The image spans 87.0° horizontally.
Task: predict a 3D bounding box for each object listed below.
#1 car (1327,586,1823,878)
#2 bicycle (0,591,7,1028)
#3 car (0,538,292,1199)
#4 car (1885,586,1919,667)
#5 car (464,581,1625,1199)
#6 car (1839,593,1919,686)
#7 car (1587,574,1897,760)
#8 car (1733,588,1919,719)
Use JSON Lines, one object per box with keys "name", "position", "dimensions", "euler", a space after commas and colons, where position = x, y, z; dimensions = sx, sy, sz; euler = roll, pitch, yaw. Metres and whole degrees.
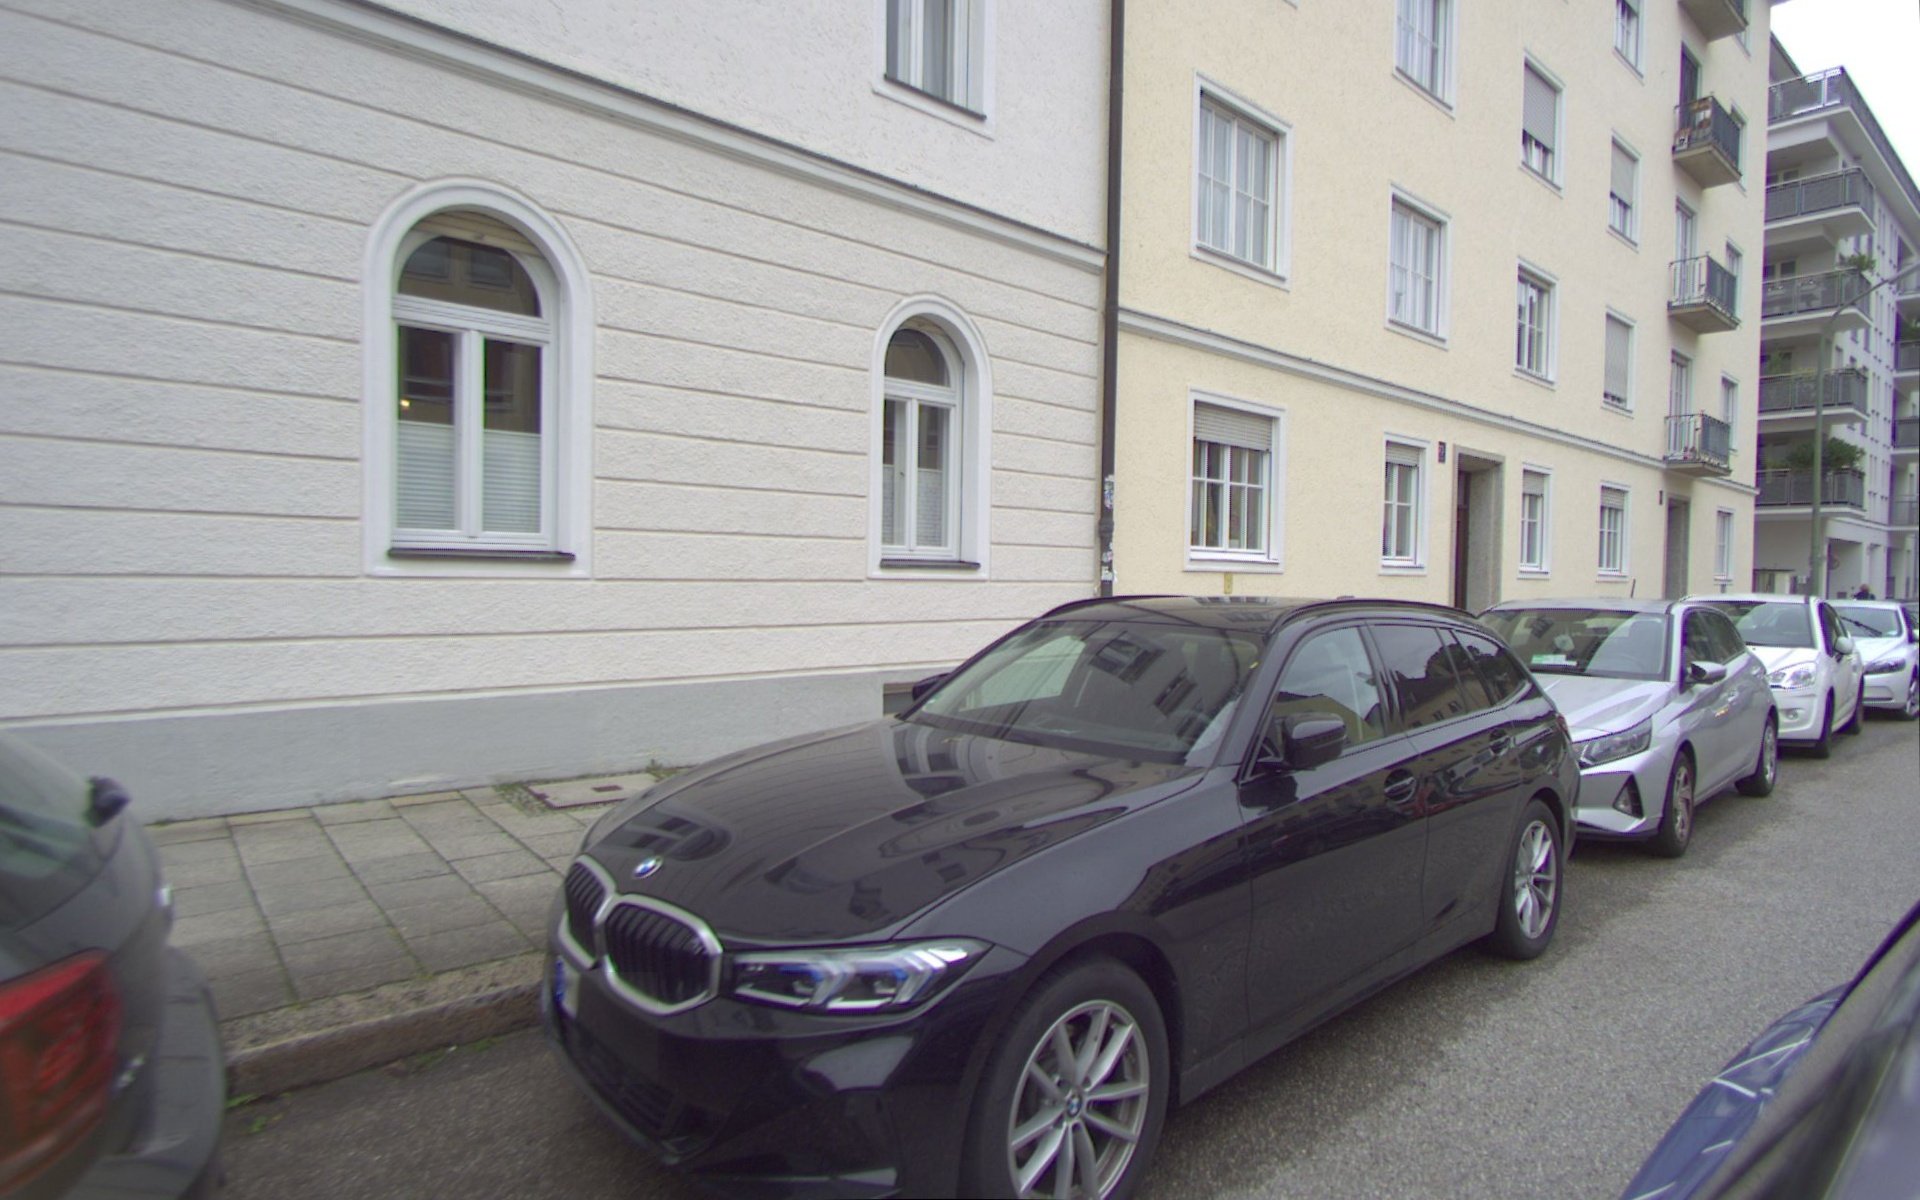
{"name": "car", "position": [4.680, 0.647, 7.364], "dimensions": [4.574, 1.452, 1.839], "euler": [-1, 1, -42]}
{"name": "bicycle", "position": [-3.181, 0.598, 2.294], "dimensions": [1.447, 1.192, 0.481], "euler": [-1, 4, -41]}
{"name": "car", "position": [-2.893, 0.689, 0.621], "dimensions": [3.985, 1.460, 1.706], "euler": [-1, 1, -41]}
{"name": "car", "position": [20.229, 0.496, 20.558], "dimensions": [3.954, 1.535, 1.740], "euler": [-1, 1, -42]}
{"name": "car", "position": [0.788, 0.665, 3.801], "dimensions": [4.452, 1.432, 1.800], "euler": [-1, 1, -42]}
{"name": "car", "position": [16.153, 0.593, 16.906], "dimensions": [3.954, 1.392, 1.740], "euler": [-1, 1, -42]}
{"name": "car", "position": [8.310, 0.534, 10.614], "dimensions": [4.195, 1.567, 1.839], "euler": [-1, 1, -42]}
{"name": "car", "position": [11.918, 0.593, 13.518], "dimensions": [3.954, 1.477, 1.839], "euler": [-1, 1, -42]}
